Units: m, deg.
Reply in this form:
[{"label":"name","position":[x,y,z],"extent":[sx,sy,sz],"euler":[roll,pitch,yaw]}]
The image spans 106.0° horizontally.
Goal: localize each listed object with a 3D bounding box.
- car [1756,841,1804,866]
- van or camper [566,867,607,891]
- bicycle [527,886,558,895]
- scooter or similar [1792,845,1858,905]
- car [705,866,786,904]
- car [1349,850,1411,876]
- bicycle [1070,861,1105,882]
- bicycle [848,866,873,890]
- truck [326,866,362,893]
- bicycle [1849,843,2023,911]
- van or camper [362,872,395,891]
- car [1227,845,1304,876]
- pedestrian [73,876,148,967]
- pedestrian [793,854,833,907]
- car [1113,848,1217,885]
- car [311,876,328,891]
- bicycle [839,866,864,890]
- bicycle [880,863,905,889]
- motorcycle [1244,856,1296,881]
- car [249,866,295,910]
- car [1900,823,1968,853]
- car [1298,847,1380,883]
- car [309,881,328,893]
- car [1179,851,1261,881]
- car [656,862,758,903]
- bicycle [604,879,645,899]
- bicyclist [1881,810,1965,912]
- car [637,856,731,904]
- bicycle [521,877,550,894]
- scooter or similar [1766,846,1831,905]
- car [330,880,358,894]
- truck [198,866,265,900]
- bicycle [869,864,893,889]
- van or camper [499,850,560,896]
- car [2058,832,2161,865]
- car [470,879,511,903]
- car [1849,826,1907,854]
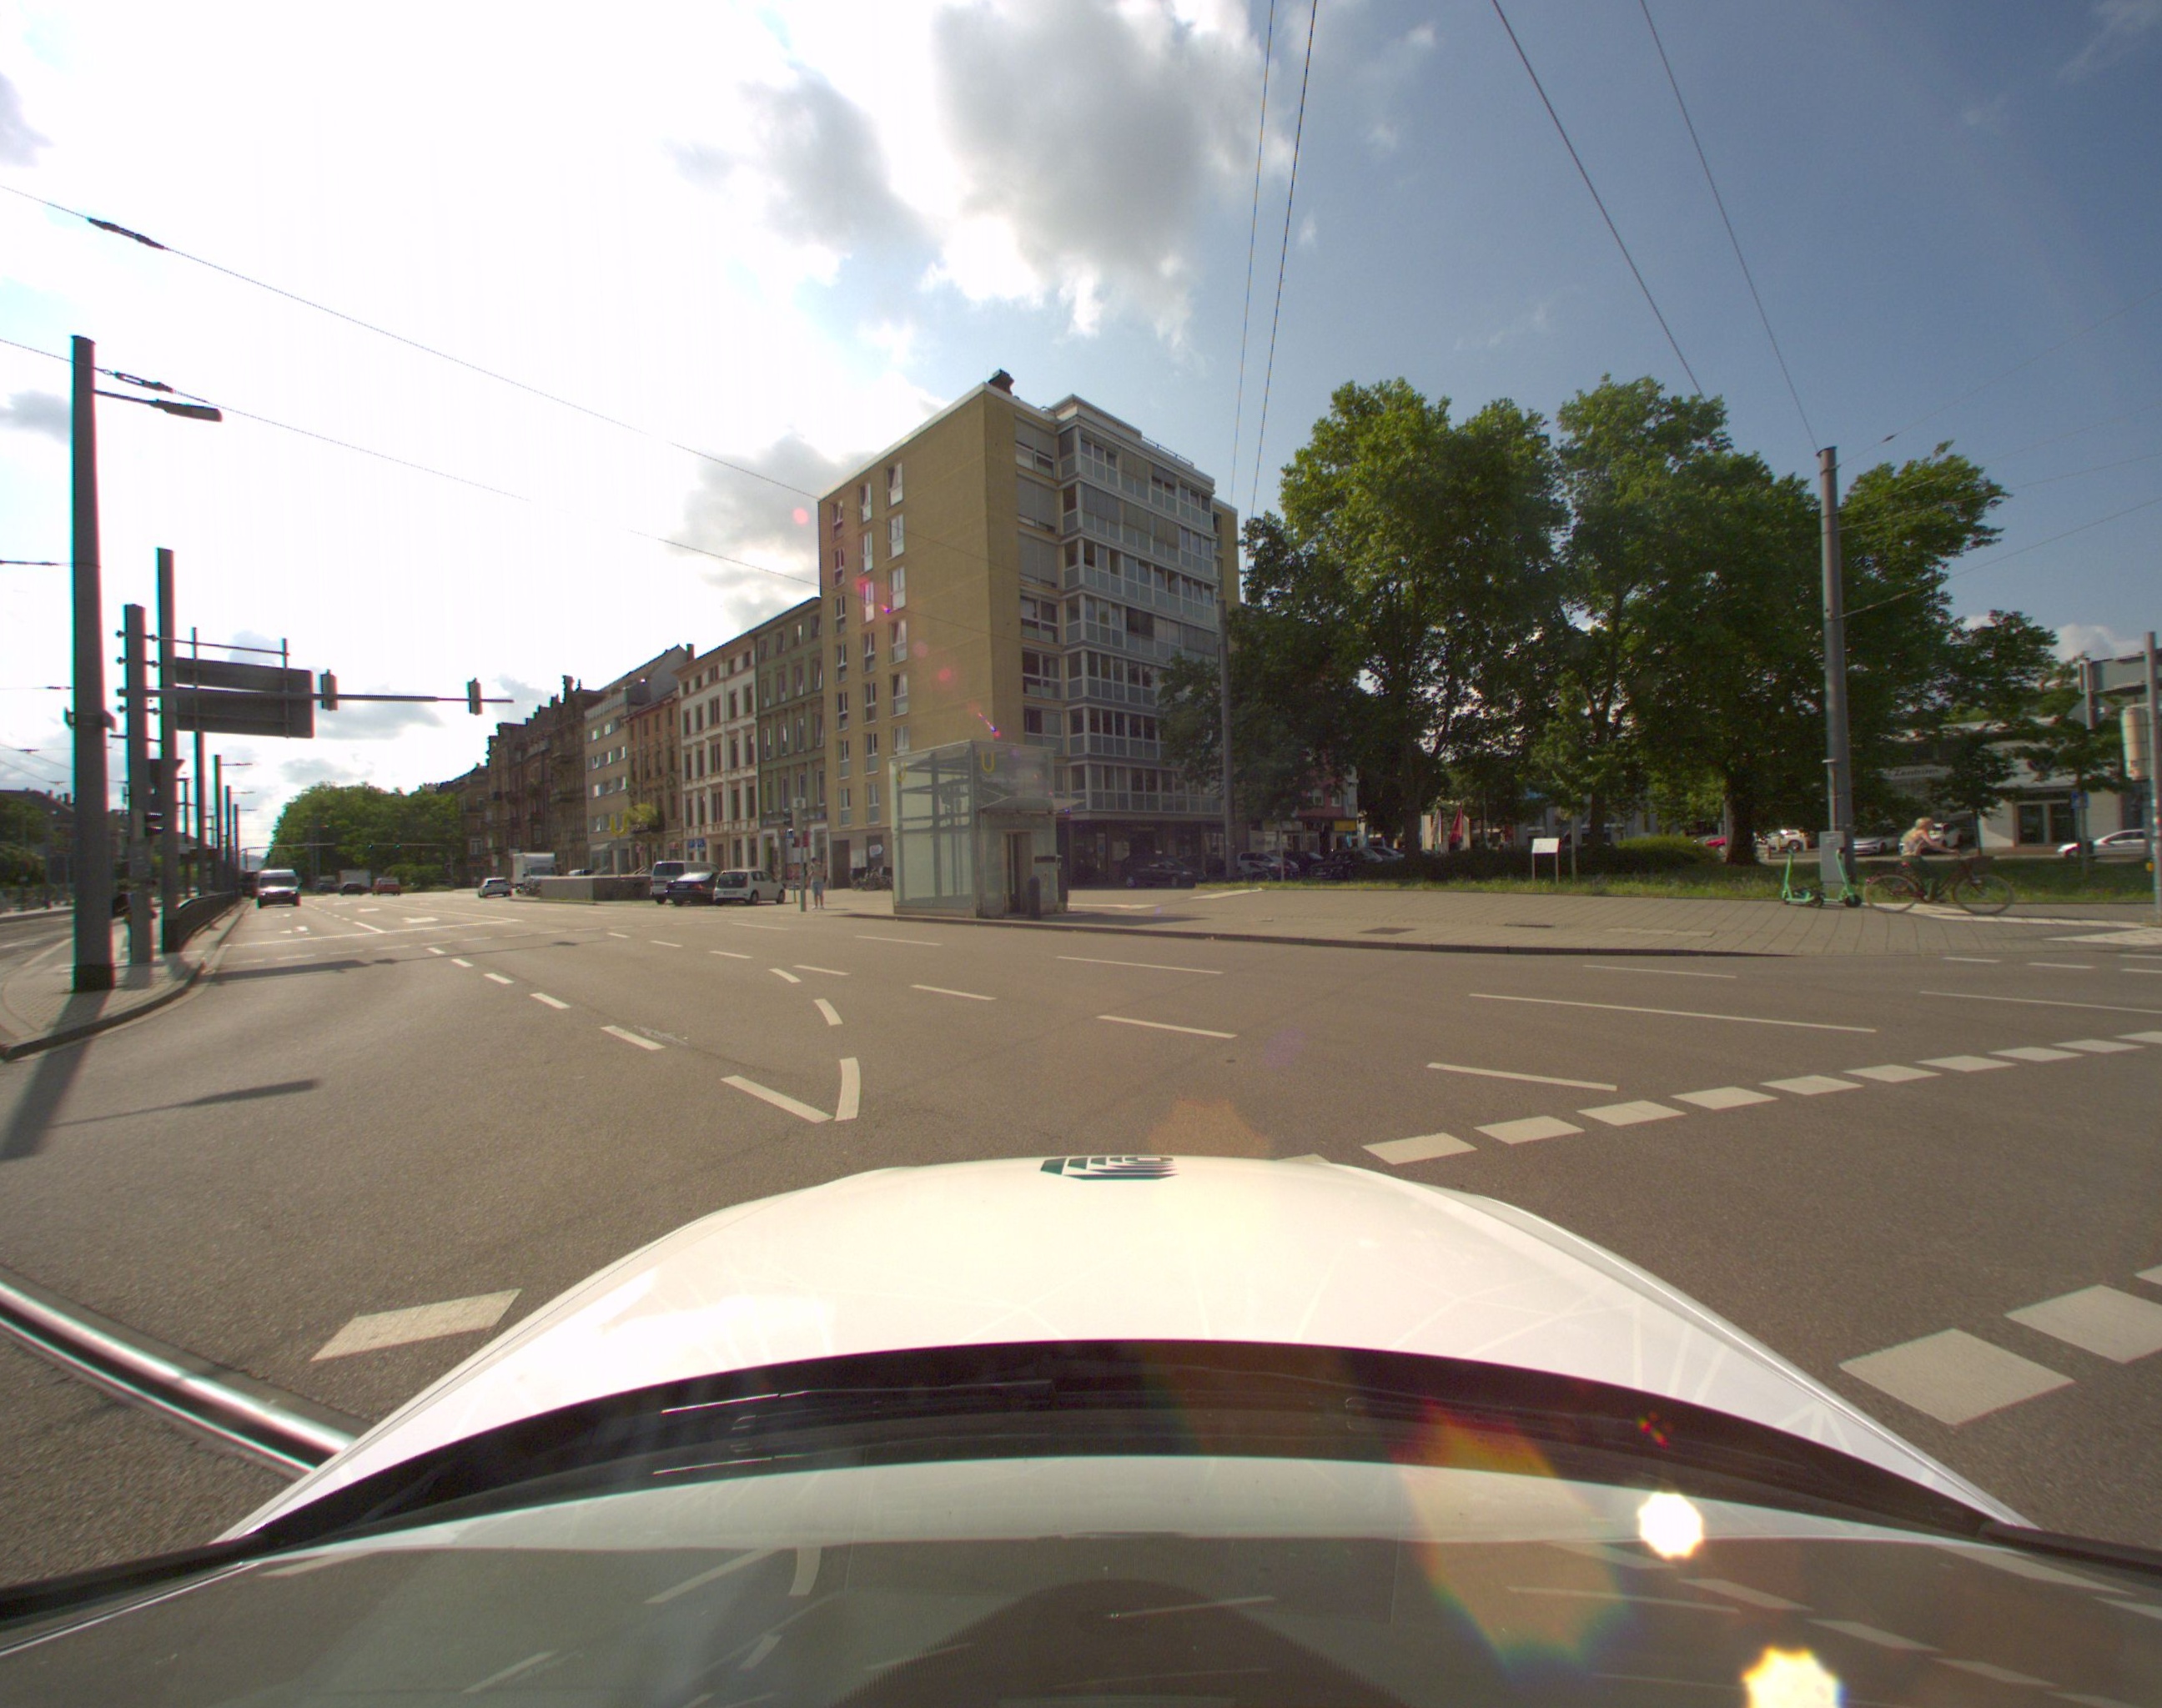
[{"label":"car","position":[47.966,0.010,55.862],"extent":[4.019,1.596,1.667],"euler":[0,-3,-38]},{"label":"van or camper","position":[-46.870,2.359,77.112],"extent":[5.232,1.904,2.012],"euler":[1,5,44]},{"label":"bicycle","position":[-36.940,2.502,55.871],"extent":[1.757,0.586,0.639],"euler":[-1,2,4]},{"label":"scooter or similar","position":[14.596,0.407,15.986],"extent":[0.922,1.157,0.382],"euler":[-1,1,5]},{"label":"car","position":[-13.878,1.241,33.924],"extent":[1.706,1.440,3.516],"euler":[0,0,4]},{"label":"car","position":[20.368,0.607,55.510],"extent":[1.675,1.594,3.575],"euler":[0,-3,-42]},{"label":"bicycle","position":[0.329,0.842,40.037],"extent":[0.673,1.020,1.792],"euler":[-3,-2,41]},{"label":"bicycle","position":[-11.703,1.255,43.225],"extent":[1.625,1.201,0.491],"euler":[1,2,44]},{"label":"truck","position":[-95.876,3.312,105.892],"extent":[3.199,3.286,7.206],"euler":[-1,-2,-44]},{"label":"bicycle","position":[15.183,0.426,14.554],"extent":[1.966,1.128,0.794],"euler":[-3,-3,33]},{"label":"van or camper","position":[-75.034,2.949,86.928],"extent":[4.464,1.915,2.028],"euler":[-4,-3,41]},{"label":"car","position":[10.097,0.364,44.582],"extent":[3.529,1.530,2.012],"euler":[-4,-3,44]},{"label":"pedestrian","position":[-19.272,1.315,16.198],"extent":[0.785,1.673,0.850],"euler":[0,3,43]},{"label":"pedestrian","position":[-9.130,0.888,27.746],"extent":[0.777,1.760,1.000],"euler":[-3,-2,21]},{"label":"car","position":[3.761,0.588,36.868],"extent":[4.336,1.585,2.012],"euler":[-2,-2,43]},{"label":"car","position":[-115.913,4.517,124.028],"extent":[1.786,2.234,3.950],"euler":[0,-1,-45]},{"label":"bicycle","position":[-12.071,1.250,42.817],"extent":[1.625,1.201,0.491],"euler":[1,2,44]},{"label":"bicycle","position":[-9.546,1.109,41.256],"extent":[0.490,1.201,1.626],"euler":[-2,2,-41]},{"label":"motorcycle","position":[7.428,0.558,32.075],"extent":[1.882,0.903,0.605],"euler":[-2,-1,1]},{"label":"car","position":[-55.262,2.266,55.594],"extent":[5.511,2.621,2.012],"euler":[1,4,44]},{"label":"car","position":[51.807,-0.981,49.455],"extent":[4.015,1.604,2.052],"euler":[-2,-2,-33]},{"label":"car","position":[11.606,0.452,36.483],"extent":[4.023,1.420,1.775],"euler":[-2,3,-43]},{"label":"car","position":[-107.504,4.674,114.830],"extent":[1.786,1.662,3.950],"euler":[0,-1,-45]},{"label":"car","position":[7.121,0.638,41.954],"extent":[3.949,1.327,1.595],"euler":[-4,-3,44]},{"label":"car","position":[-16.284,1.200,35.778],"extent":[1.877,1.468,5.069],"euler":[-1,1,3]},{"label":"bicycle","position":[-23.984,1.816,42.831],"extent":[0.506,1.004,1.789],"euler":[1,0,38]},{"label":"bicyclist","position":[15.062,0.142,14.600],"extent":[0.817,1.745,0.716],"euler":[-3,-3,33]},{"label":"car","position":[-18.901,1.172,39.107],"extent":[2.066,2.084,4.899],"euler":[-1,0,0]},{"label":"bicycle","position":[-39.785,2.295,59.448],"extent":[0.368,1.085,1.775],"euler":[2,2,33]},{"label":"scooter or similar","position":[14.600,0.431,16.576],"extent":[0.919,1.157,0.383],"euler":[-1,1,17]},{"label":"car","position":[-84.045,3.713,92.798],"extent":[3.949,1.508,2.012],"euler":[-2,0,43]},{"label":"truck","position":[-98.537,3.397,94.440],"extent":[7.363,3.648,2.484],"euler":[-2,0,20]},{"label":"bicycle","position":[-10.066,1.116,41.020],"extent":[0.490,1.201,1.626],"euler":[-2,2,-41]},{"label":"van or camper","position":[-44.722,1.433,65.952],"extent":[2.737,3.330,7.546],"euler":[-2,2,-44]},{"label":"car","position":[48.794,-0.257,37.459],"extent":[2.003,1.354,4.512],"euler":[-1,-3,-24]},{"label":"car","position":[-44.738,2.780,61.673],"extent":[1.807,1.436,4.290],"euler":[-7,5,-43]},{"label":"car","position":[50.625,-0.860,51.703],"extent":[4.018,1.574,1.977],"euler":[0,-3,-37]}]
